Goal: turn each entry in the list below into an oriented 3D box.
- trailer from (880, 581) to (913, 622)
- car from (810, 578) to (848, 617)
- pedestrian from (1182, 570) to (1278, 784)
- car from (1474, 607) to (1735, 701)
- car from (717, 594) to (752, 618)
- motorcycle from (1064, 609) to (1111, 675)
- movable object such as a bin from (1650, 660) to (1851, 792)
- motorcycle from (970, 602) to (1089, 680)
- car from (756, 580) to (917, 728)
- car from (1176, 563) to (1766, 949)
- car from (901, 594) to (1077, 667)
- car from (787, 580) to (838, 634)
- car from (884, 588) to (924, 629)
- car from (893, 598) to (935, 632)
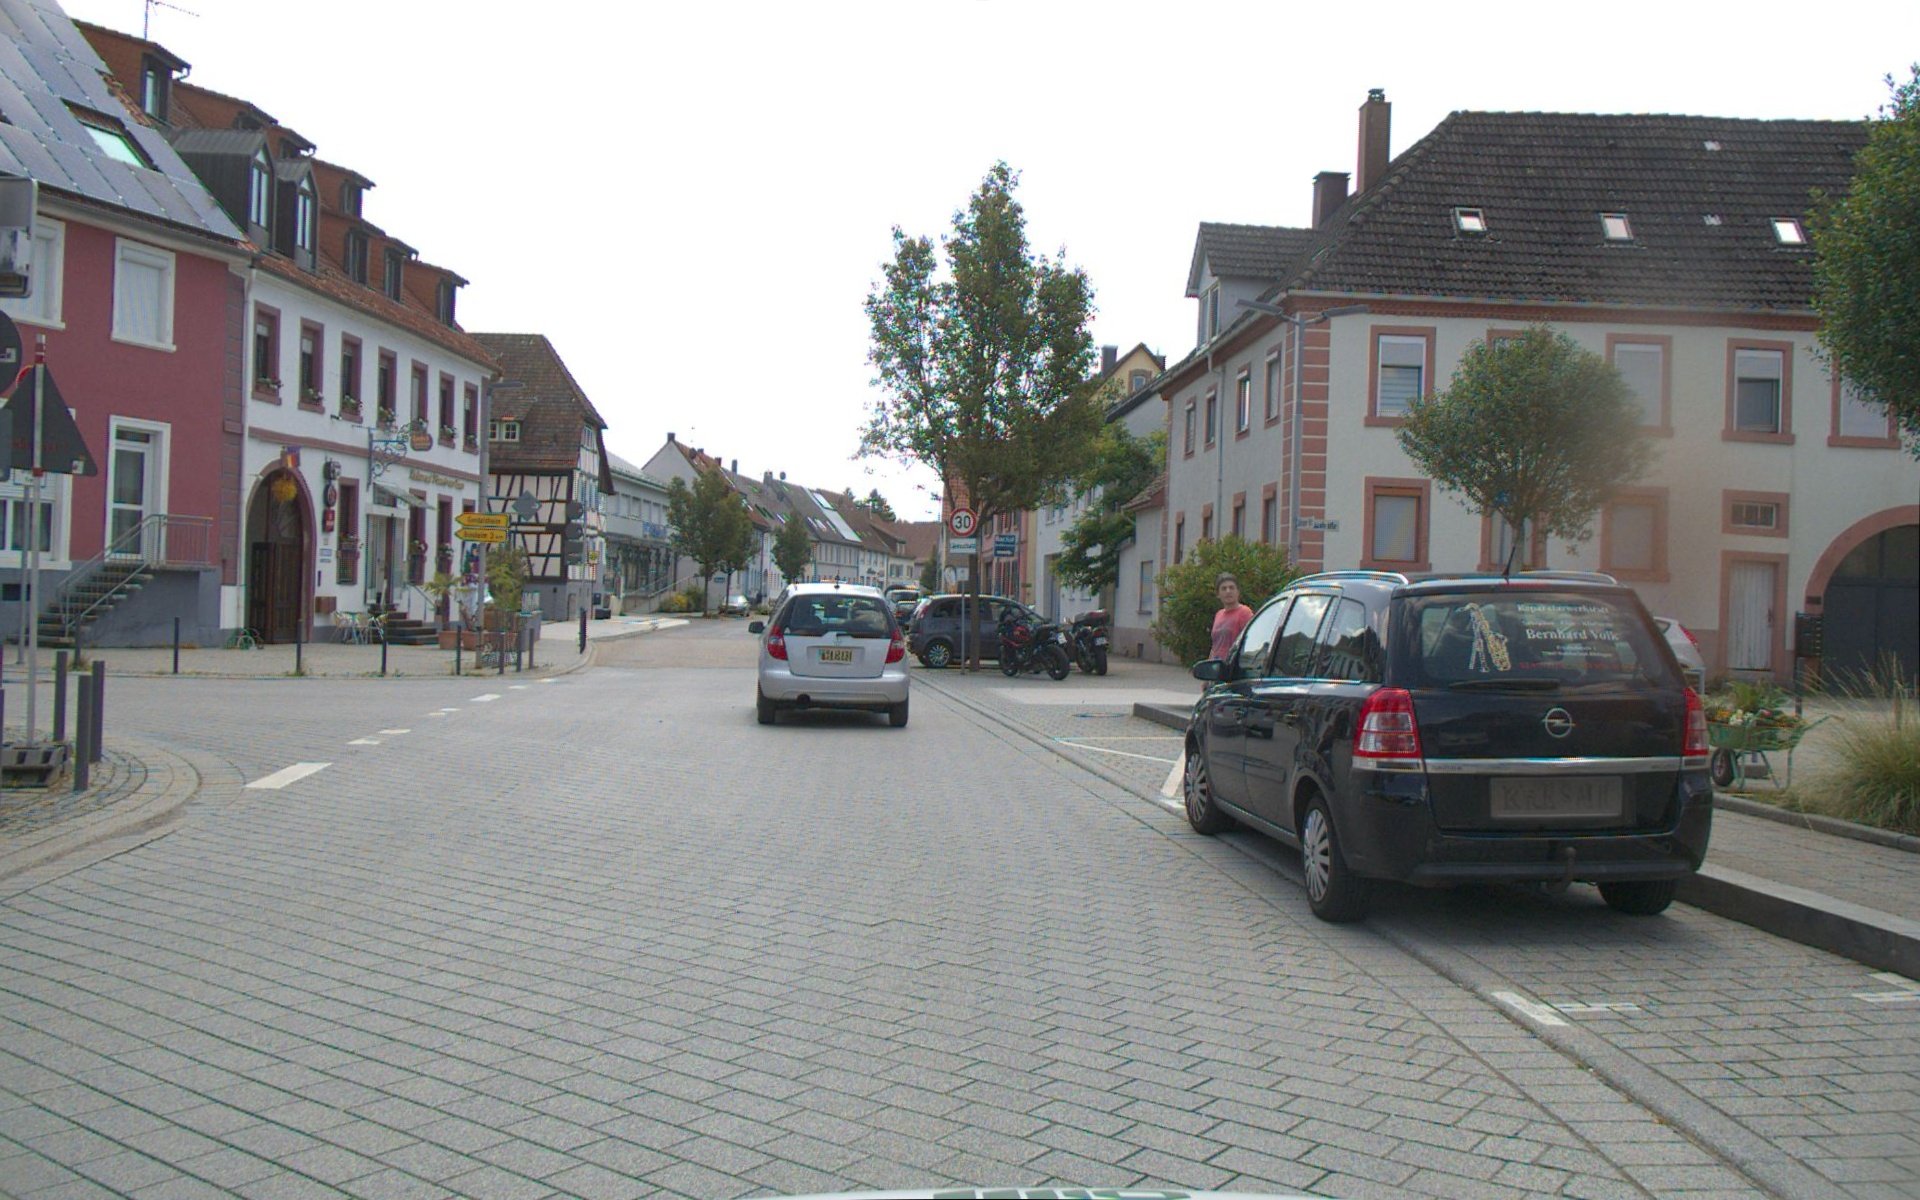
[{"bbox_3d":[-3.849,0.087,99.574,1.809,2.395,3.586,1,0,-5],"label":"trailer"},{"bbox_3d":[-7.969,-0.118,100.826,2.192,2.261,3.996,1,-1,-4],"label":"car"},{"bbox_3d":[2.153,0.604,13.241,0.626,1.657,0.620,1,0,-2],"label":"pedestrian"},{"bbox_3d":[11.356,0.933,29.331,3.911,1.499,1.825,1,0,1],"label":"car"},{"bbox_3d":[-15.138,0.398,111.271,1.768,1.486,4.157,2,0,-1],"label":"car"},{"bbox_3d":[2.622,0.849,34.295,0.939,1.321,2.226,0,0,3],"label":"motorcycle"},{"bbox_3d":[6.030,0.939,12.702,0.721,0.881,1.434,2,0,-7],"label":"movable object such as a bin"},{"bbox_3d":[1.330,0.771,31.849,2.183,1.419,0.868,1,0,39],"label":"motorcycle"},{"bbox_3d":[-1.603,0.587,20.227,1.735,1.622,3.993,1,0,-7],"label":"car"},{"bbox_3d":[2.420,0.650,9.081,1.733,1.592,4.416,0,0,-2],"label":"car"},{"bbox_3d":[0.623,0.669,37.511,3.776,1.605,1.847,0,0,-8],"label":"car"},{"bbox_3d":[-5.788,0.298,65.325,1.734,1.920,4.444,4,-1,-3],"label":"car"},{"bbox_3d":[-2.907,0.429,84.796,1.855,2.017,4.927,-1,0,-4],"label":"car"},{"bbox_3d":[-2.154,0.673,76.671,1.739,1.521,4.158,1,0,-4],"label":"car"}]
